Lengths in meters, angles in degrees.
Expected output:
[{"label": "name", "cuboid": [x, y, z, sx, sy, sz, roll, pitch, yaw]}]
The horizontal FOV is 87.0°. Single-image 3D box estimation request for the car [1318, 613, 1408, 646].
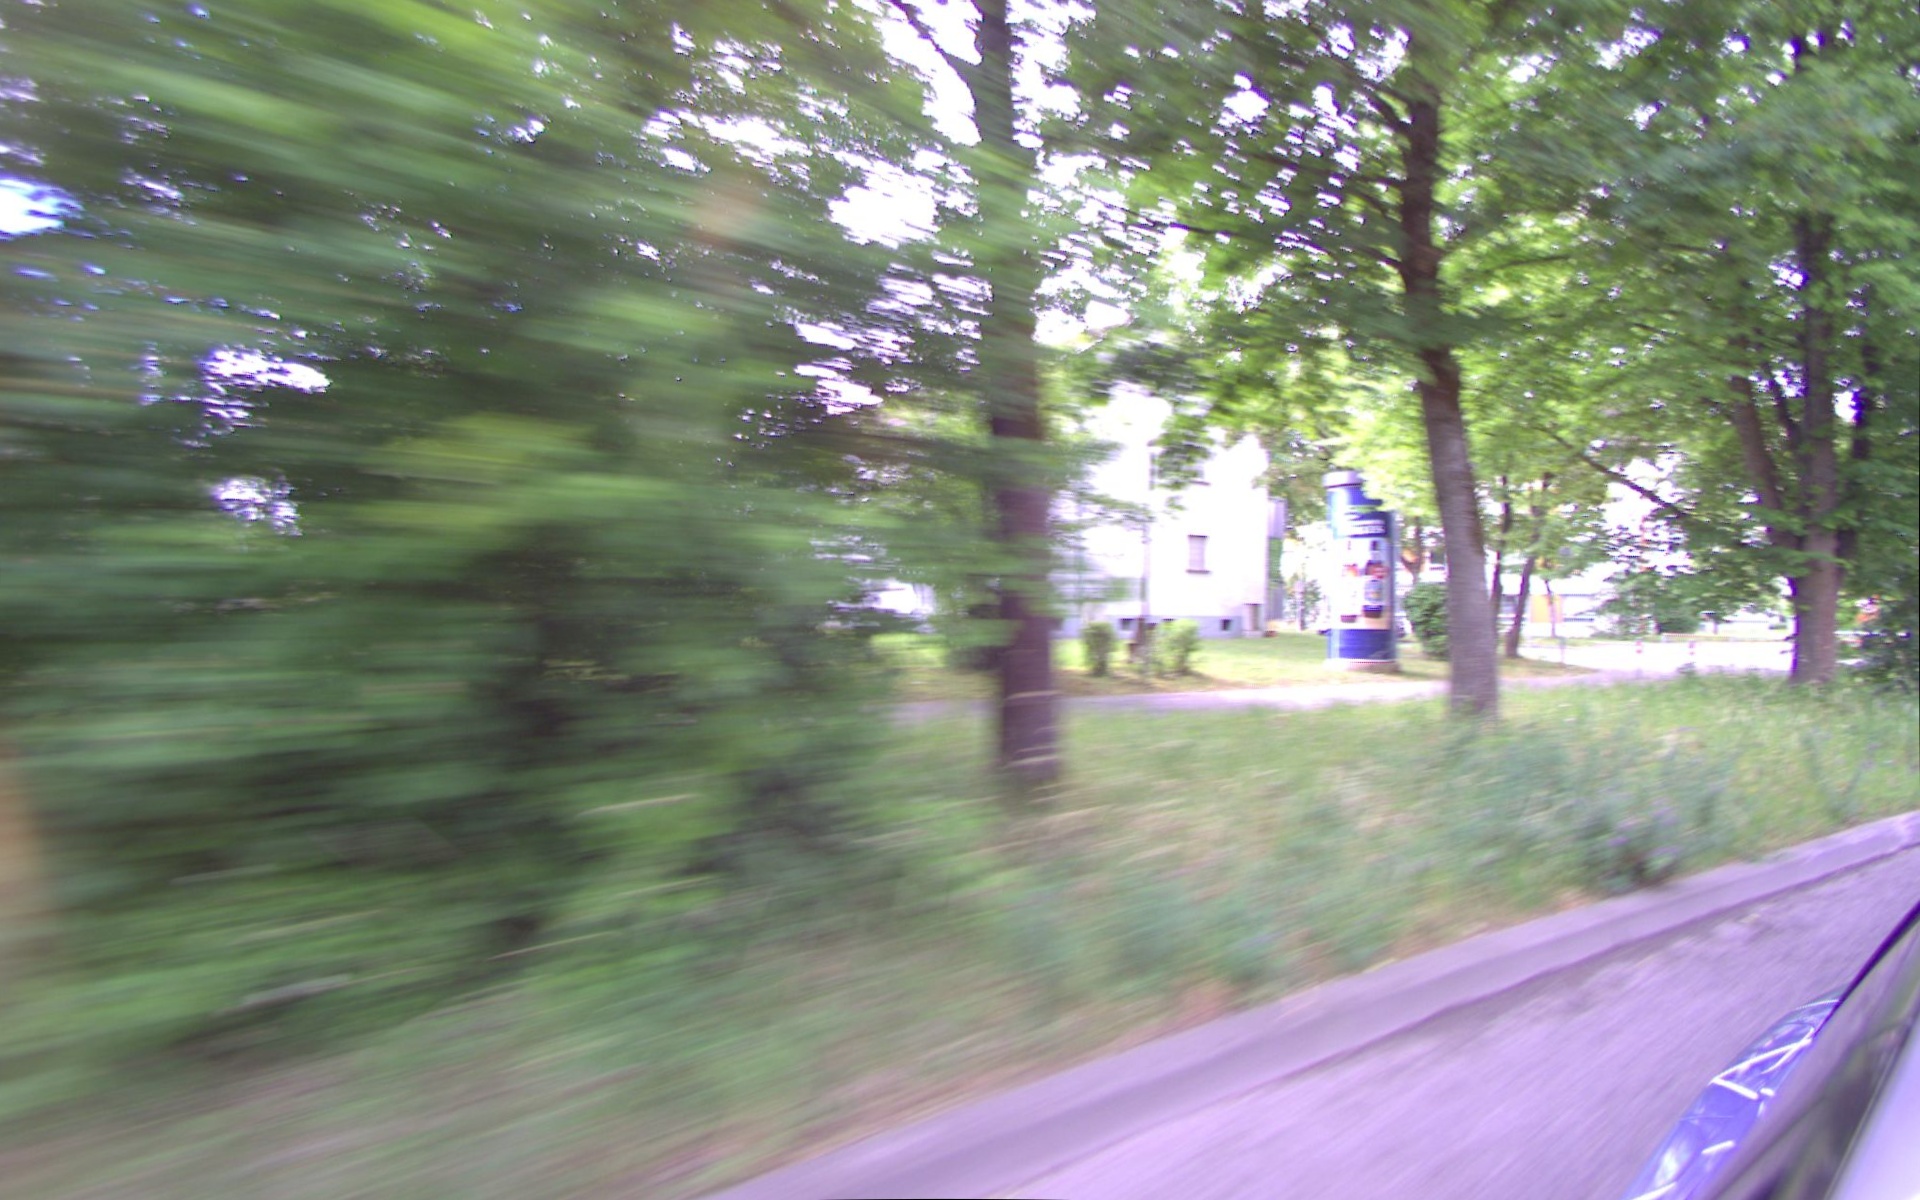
[{"label": "car", "cuboid": [19.289, 1.399, 48.496, 3.755, 1.483, 1.614, 0, -1, 40]}]
